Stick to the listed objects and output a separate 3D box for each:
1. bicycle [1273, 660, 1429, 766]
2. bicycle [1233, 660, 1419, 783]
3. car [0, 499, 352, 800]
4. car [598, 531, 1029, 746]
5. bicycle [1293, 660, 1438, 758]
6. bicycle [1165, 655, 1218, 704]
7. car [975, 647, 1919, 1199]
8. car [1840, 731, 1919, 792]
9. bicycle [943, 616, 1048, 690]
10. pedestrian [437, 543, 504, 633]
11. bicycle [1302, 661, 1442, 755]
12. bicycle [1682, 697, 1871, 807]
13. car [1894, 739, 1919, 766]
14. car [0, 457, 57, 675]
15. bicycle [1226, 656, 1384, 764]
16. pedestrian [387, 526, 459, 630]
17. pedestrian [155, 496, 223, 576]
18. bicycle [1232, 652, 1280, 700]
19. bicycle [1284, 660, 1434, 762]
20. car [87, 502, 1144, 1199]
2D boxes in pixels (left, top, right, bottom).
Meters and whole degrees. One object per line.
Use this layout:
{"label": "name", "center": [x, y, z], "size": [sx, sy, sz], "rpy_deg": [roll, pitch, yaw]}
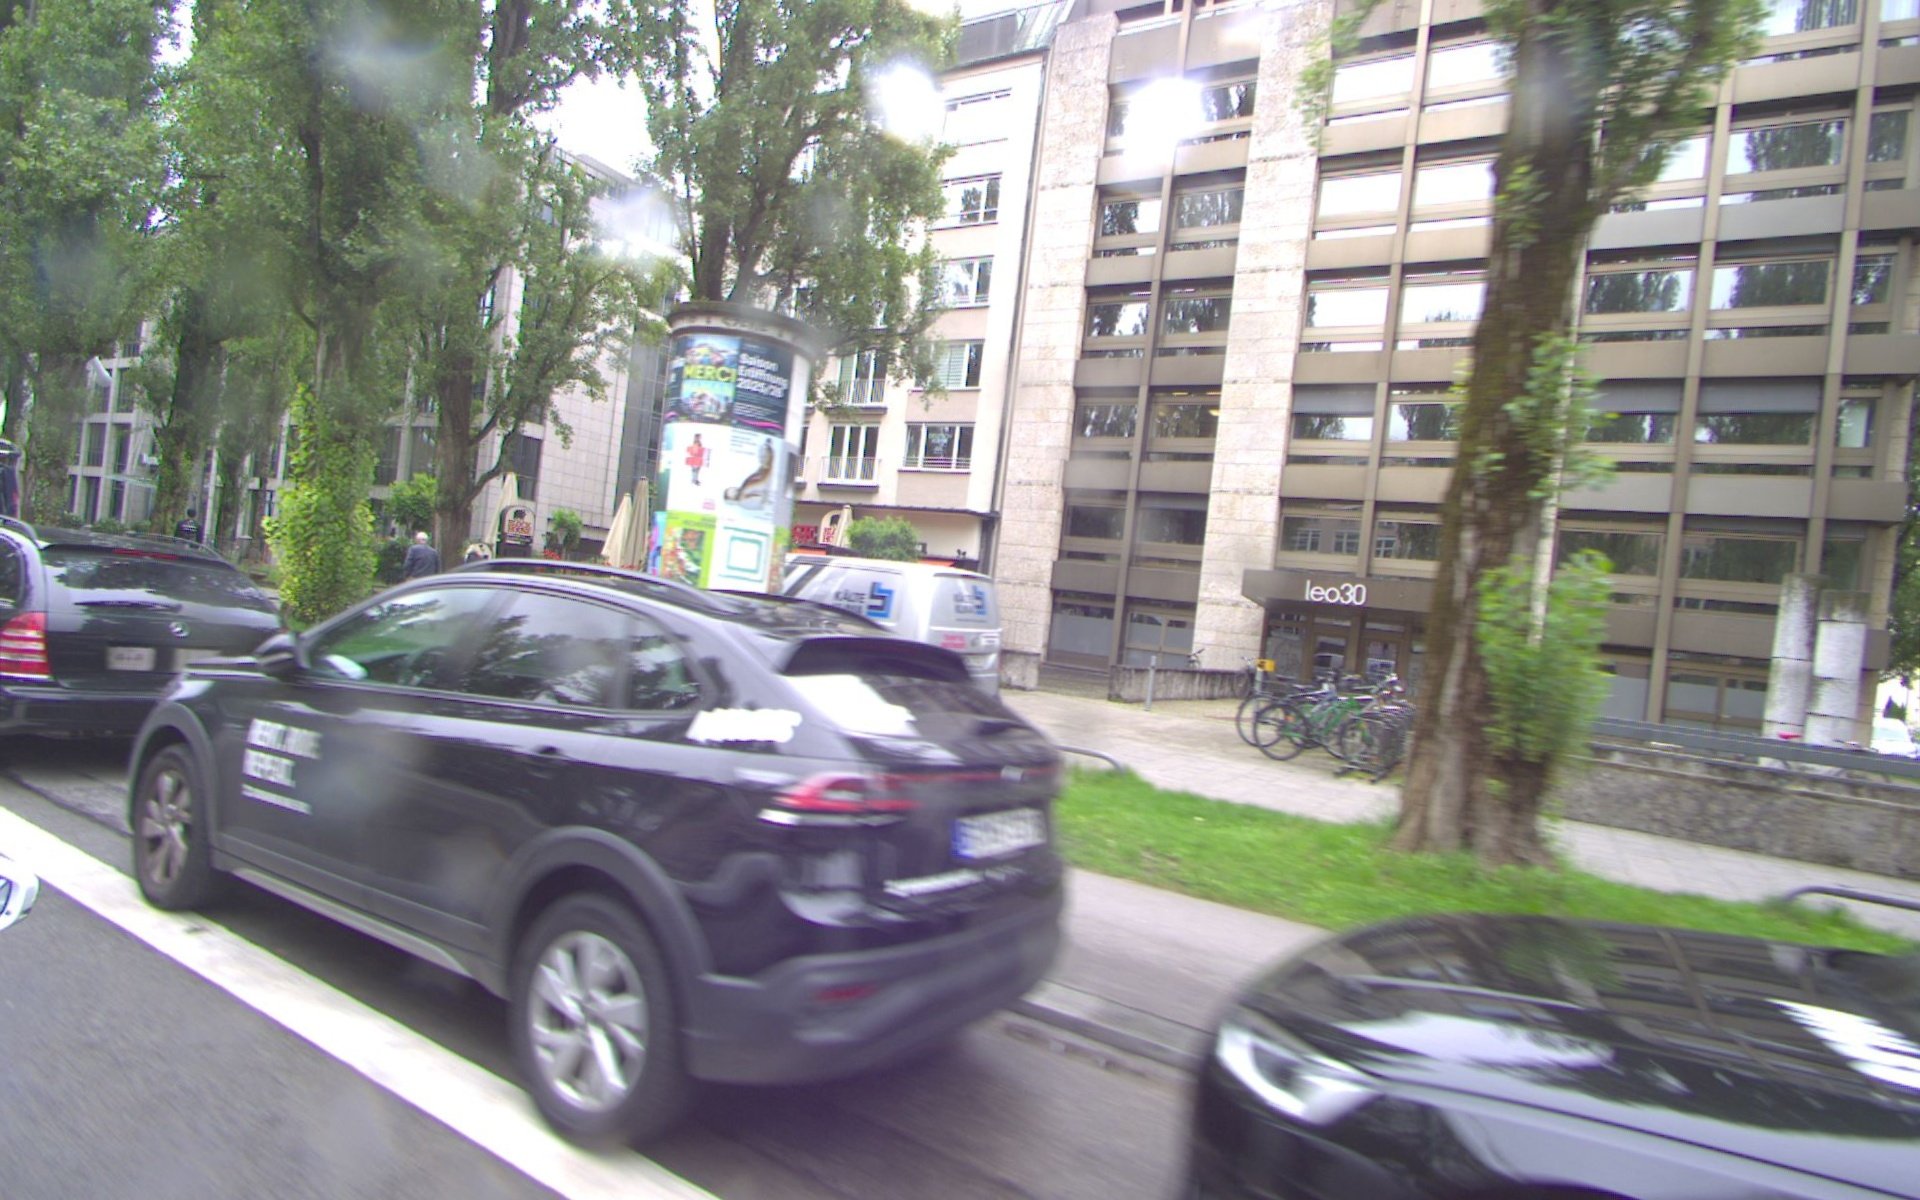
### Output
{"label": "bicycle", "center": [5.421, 1.538, 13.993], "size": [1.838, 1.174, 0.586], "rpy_deg": [6, 0, 32]}
{"label": "bicycle", "center": [4.432, 1.437, 12.260], "size": [1.952, 1.174, 0.586], "rpy_deg": [6, 0, 32]}
{"label": "car", "center": [-6.332, 0.145, 6.895], "size": [4.162, 1.544, 1.747], "rpy_deg": [6, -2, 29]}
{"label": "car", "center": [-1.920, 0.366, 12.354], "size": [5.117, 1.919, 1.811], "rpy_deg": [6, 0, 32]}
{"label": "bicycle", "center": [6.061, 1.602, 15.066], "size": [1.838, 1.174, 0.586], "rpy_deg": [6, 0, 32]}
{"label": "bicycle", "center": [6.107, 2.098, 26.460], "size": [0.637, 1.169, 2.242], "rpy_deg": [7, -1, 30]}
{"label": "car", "center": [2.365, 1.095, 1.587], "size": [4.375, 1.444, 1.754], "rpy_deg": [6, -2, 33]}
{"label": "car", "center": [46.740, 8.121, 50.796], "size": [2.053, 2.461, 5.605], "rpy_deg": [5, -2, 28]}
{"label": "bicycle", "center": [0.686, 1.015, 19.486], "size": [1.834, 1.174, 0.588], "rpy_deg": [7, 0, 16]}
{"label": "pedestrian", "center": [-9.482, -0.234, 19.486], "size": [0.820, 1.626, 0.696], "rpy_deg": [7, 0, 35]}
{"label": "bicycle", "center": [6.382, 1.652, 15.613], "size": [1.838, 1.174, 0.586], "rpy_deg": [6, 0, 32]}
{"label": "bicycle", "center": [11.094, 2.036, 13.756], "size": [1.838, 1.174, 0.586], "rpy_deg": [6, 0, 32]}
{"label": "car", "center": [57.407, 9.144, 59.575], "size": [1.965, 1.404, 3.870], "rpy_deg": [5, -2, 27]}
{"label": "car", "center": [-11.108, -0.599, 9.709], "size": [4.953, 1.946, 1.915], "rpy_deg": [6, -2, 29]}
{"label": "bicycle", "center": [4.674, 1.464, 13.691], "size": [1.838, 1.174, 0.586], "rpy_deg": [6, 0, 32]}
{"label": "pedestrian", "center": [-10.086, -0.416, 18.890], "size": [0.830, 1.825, 0.748], "rpy_deg": [6, 0, 35]}
{"label": "pedestrian", "center": [-18.471, -1.525, 24.116], "size": [0.846, 1.773, 0.909], "rpy_deg": [6, 0, 31]}
{"label": "bicycle", "center": [8.068, 2.076, 27.361], "size": [0.637, 1.169, 2.242], "rpy_deg": [7, -1, 30]}
{"label": "bicycle", "center": [5.738, 1.572, 14.519], "size": [1.838, 1.174, 0.586], "rpy_deg": [6, 0, 32]}
{"label": "car", "center": [-1.487, 0.613, 3.935], "size": [3.843, 1.544, 1.746], "rpy_deg": [6, -2, 32]}
